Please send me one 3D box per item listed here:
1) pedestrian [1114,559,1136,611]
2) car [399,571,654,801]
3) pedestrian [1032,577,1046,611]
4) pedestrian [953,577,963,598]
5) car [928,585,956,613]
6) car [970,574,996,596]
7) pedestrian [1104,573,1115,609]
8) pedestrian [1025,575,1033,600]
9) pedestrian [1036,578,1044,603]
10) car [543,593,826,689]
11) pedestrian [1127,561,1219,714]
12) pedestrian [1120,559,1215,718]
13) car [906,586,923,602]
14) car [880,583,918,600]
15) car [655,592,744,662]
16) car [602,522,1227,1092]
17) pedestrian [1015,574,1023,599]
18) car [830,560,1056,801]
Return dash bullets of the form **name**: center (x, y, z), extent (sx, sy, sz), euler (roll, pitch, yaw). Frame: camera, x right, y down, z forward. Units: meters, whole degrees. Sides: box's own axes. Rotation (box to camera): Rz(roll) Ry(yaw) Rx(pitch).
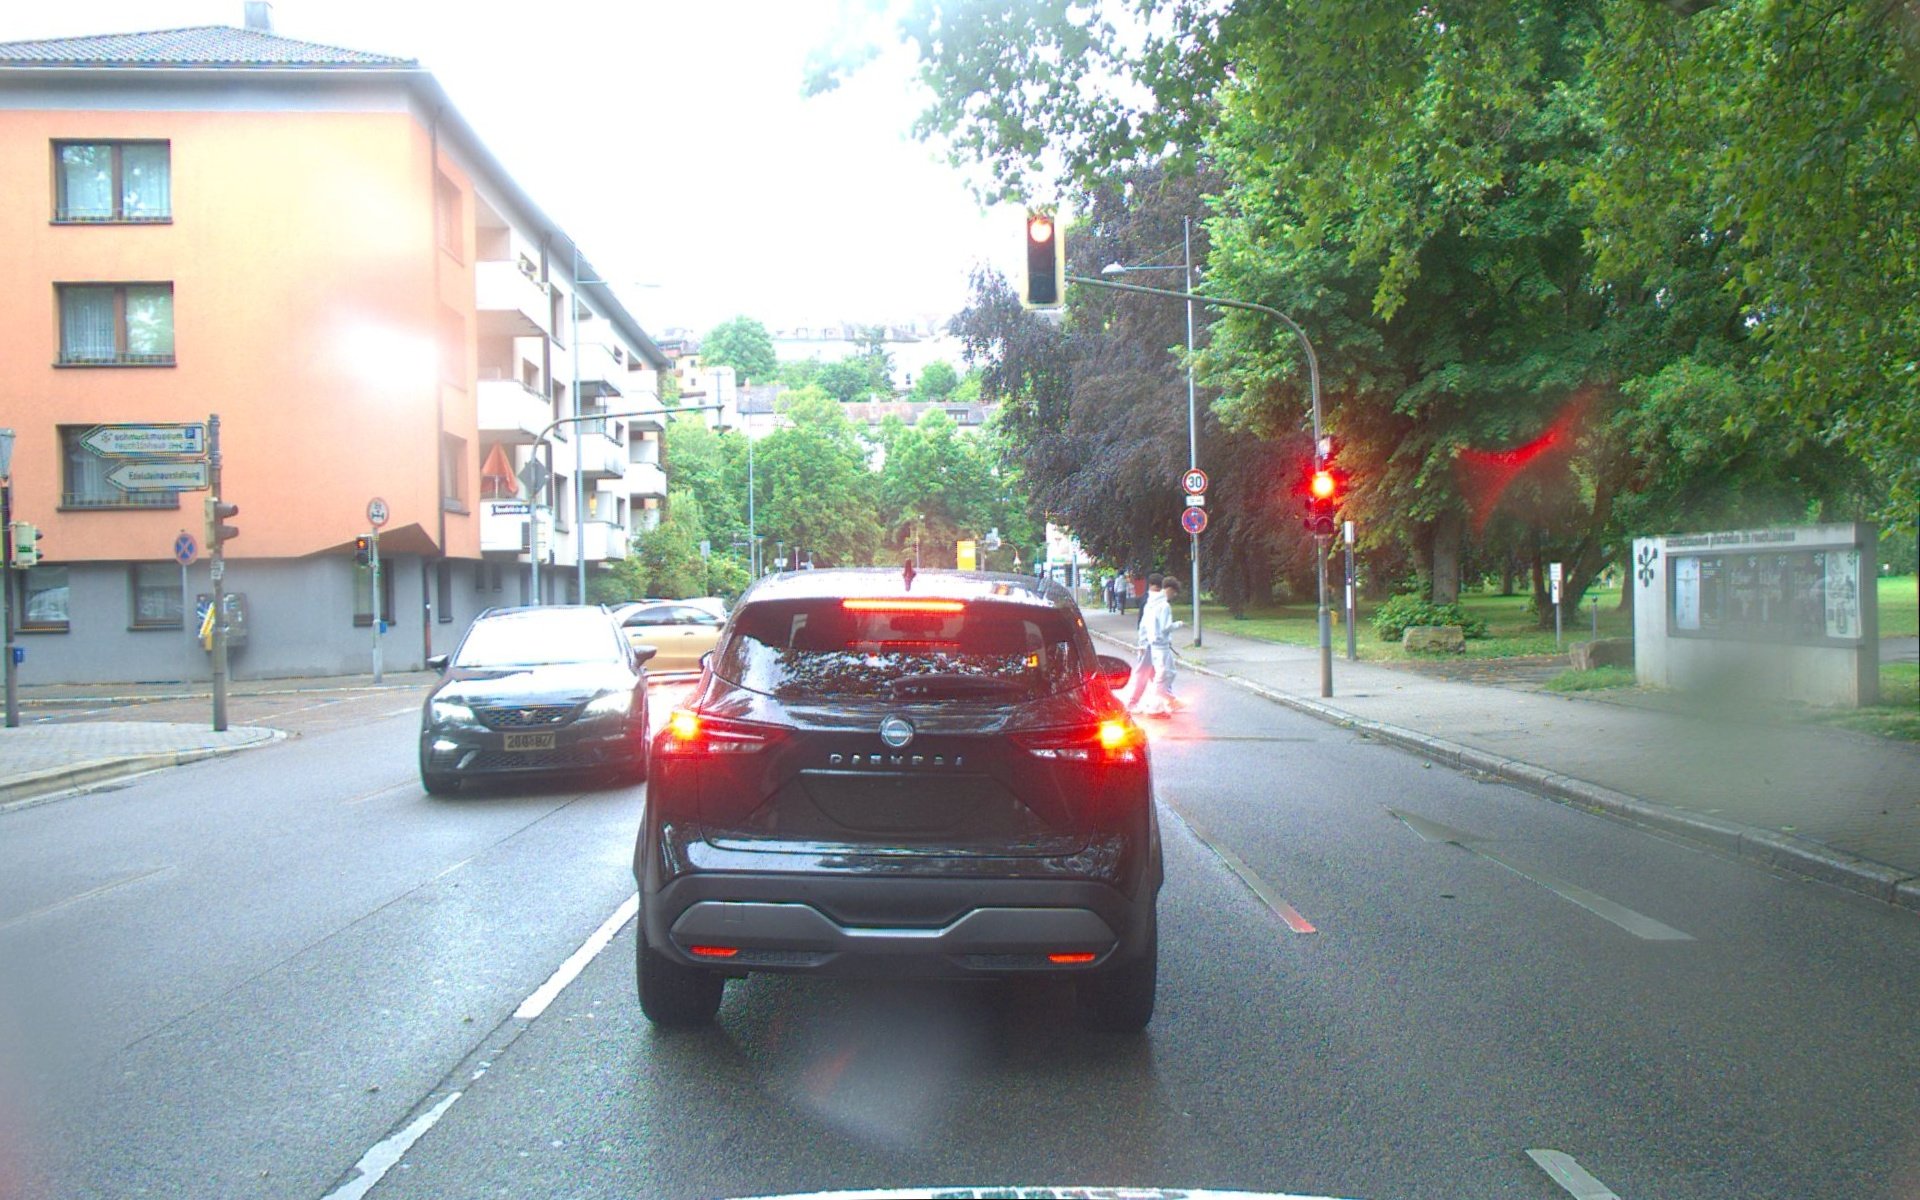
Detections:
- **pedestrian**: center (6.641, -0.614, 66.604), extent (0.710, 2.049, 0.851), euler (-2, 0, -1)
- **car**: center (-3.663, 0.638, 14.544), extent (1.813, 1.654, 4.126), euler (-2, 0, -11)
- **pedestrian**: center (4.267, -0.311, 89.112), extent (0.502, 1.833, 0.614), euler (-2, 0, -26)
- **pedestrian**: center (-0.178, -1.037, 135.147), extent (0.498, 1.702, 0.658), euler (-2, 0, 27)
- **car**: center (-1.085, -0.064, 98.620), extent (1.601, 1.559, 3.967), euler (-2, 0, -1)
- **car**: center (1.989, -1.225, 139.673), extent (1.952, 1.765, 4.002), euler (1, 0, 4)
- **pedestrian**: center (6.453, -0.375, 71.279), extent (0.382, 1.528, 0.559), euler (-2, 0, -1)
- **pedestrian**: center (5.072, -0.918, 121.988), extent (0.498, 1.833, 0.659), euler (-2, 0, 1)
- **pedestrian**: center (5.898, -0.707, 122.027), extent (0.498, 1.833, 0.619), euler (-2, 0, -2)
- **car**: center (-4.839, 0.689, 29.274), extent (4.588, 1.428, 1.813), euler (-2, 0, -31)
- **pedestrian**: center (2.745, 0.467, 21.313), extent (1.017, 1.908, 0.656), euler (-1, 3, -12)
- **pedestrian**: center (2.575, 0.462, 20.557), extent (1.017, 1.908, 0.656), euler (-1, 3, -12)
- **car**: center (-4.492, -0.605, 162.605), extent (1.601, 1.559, 3.967), euler (-2, 0, -1)
- **car**: center (-6.121, -0.856, 167.522), extent (1.609, 1.559, 3.947), euler (-2, 1, 40)
- **car**: center (-6.291, 0.620, 40.242), extent (1.760, 1.560, 3.864), euler (-2, 0, -4)
- **car**: center (-0.158, 0.612, 6.986), extent (1.874, 1.709, 3.999), euler (0, 0, -1)
- **pedestrian**: center (4.364, -1.024, 122.734), extent (0.498, 1.833, 0.619), euler (-2, 0, -1)
- **car**: center (-0.153, 0.598, 14.394), extent (1.664, 1.776, 3.640), euler (-2, 0, -1)
